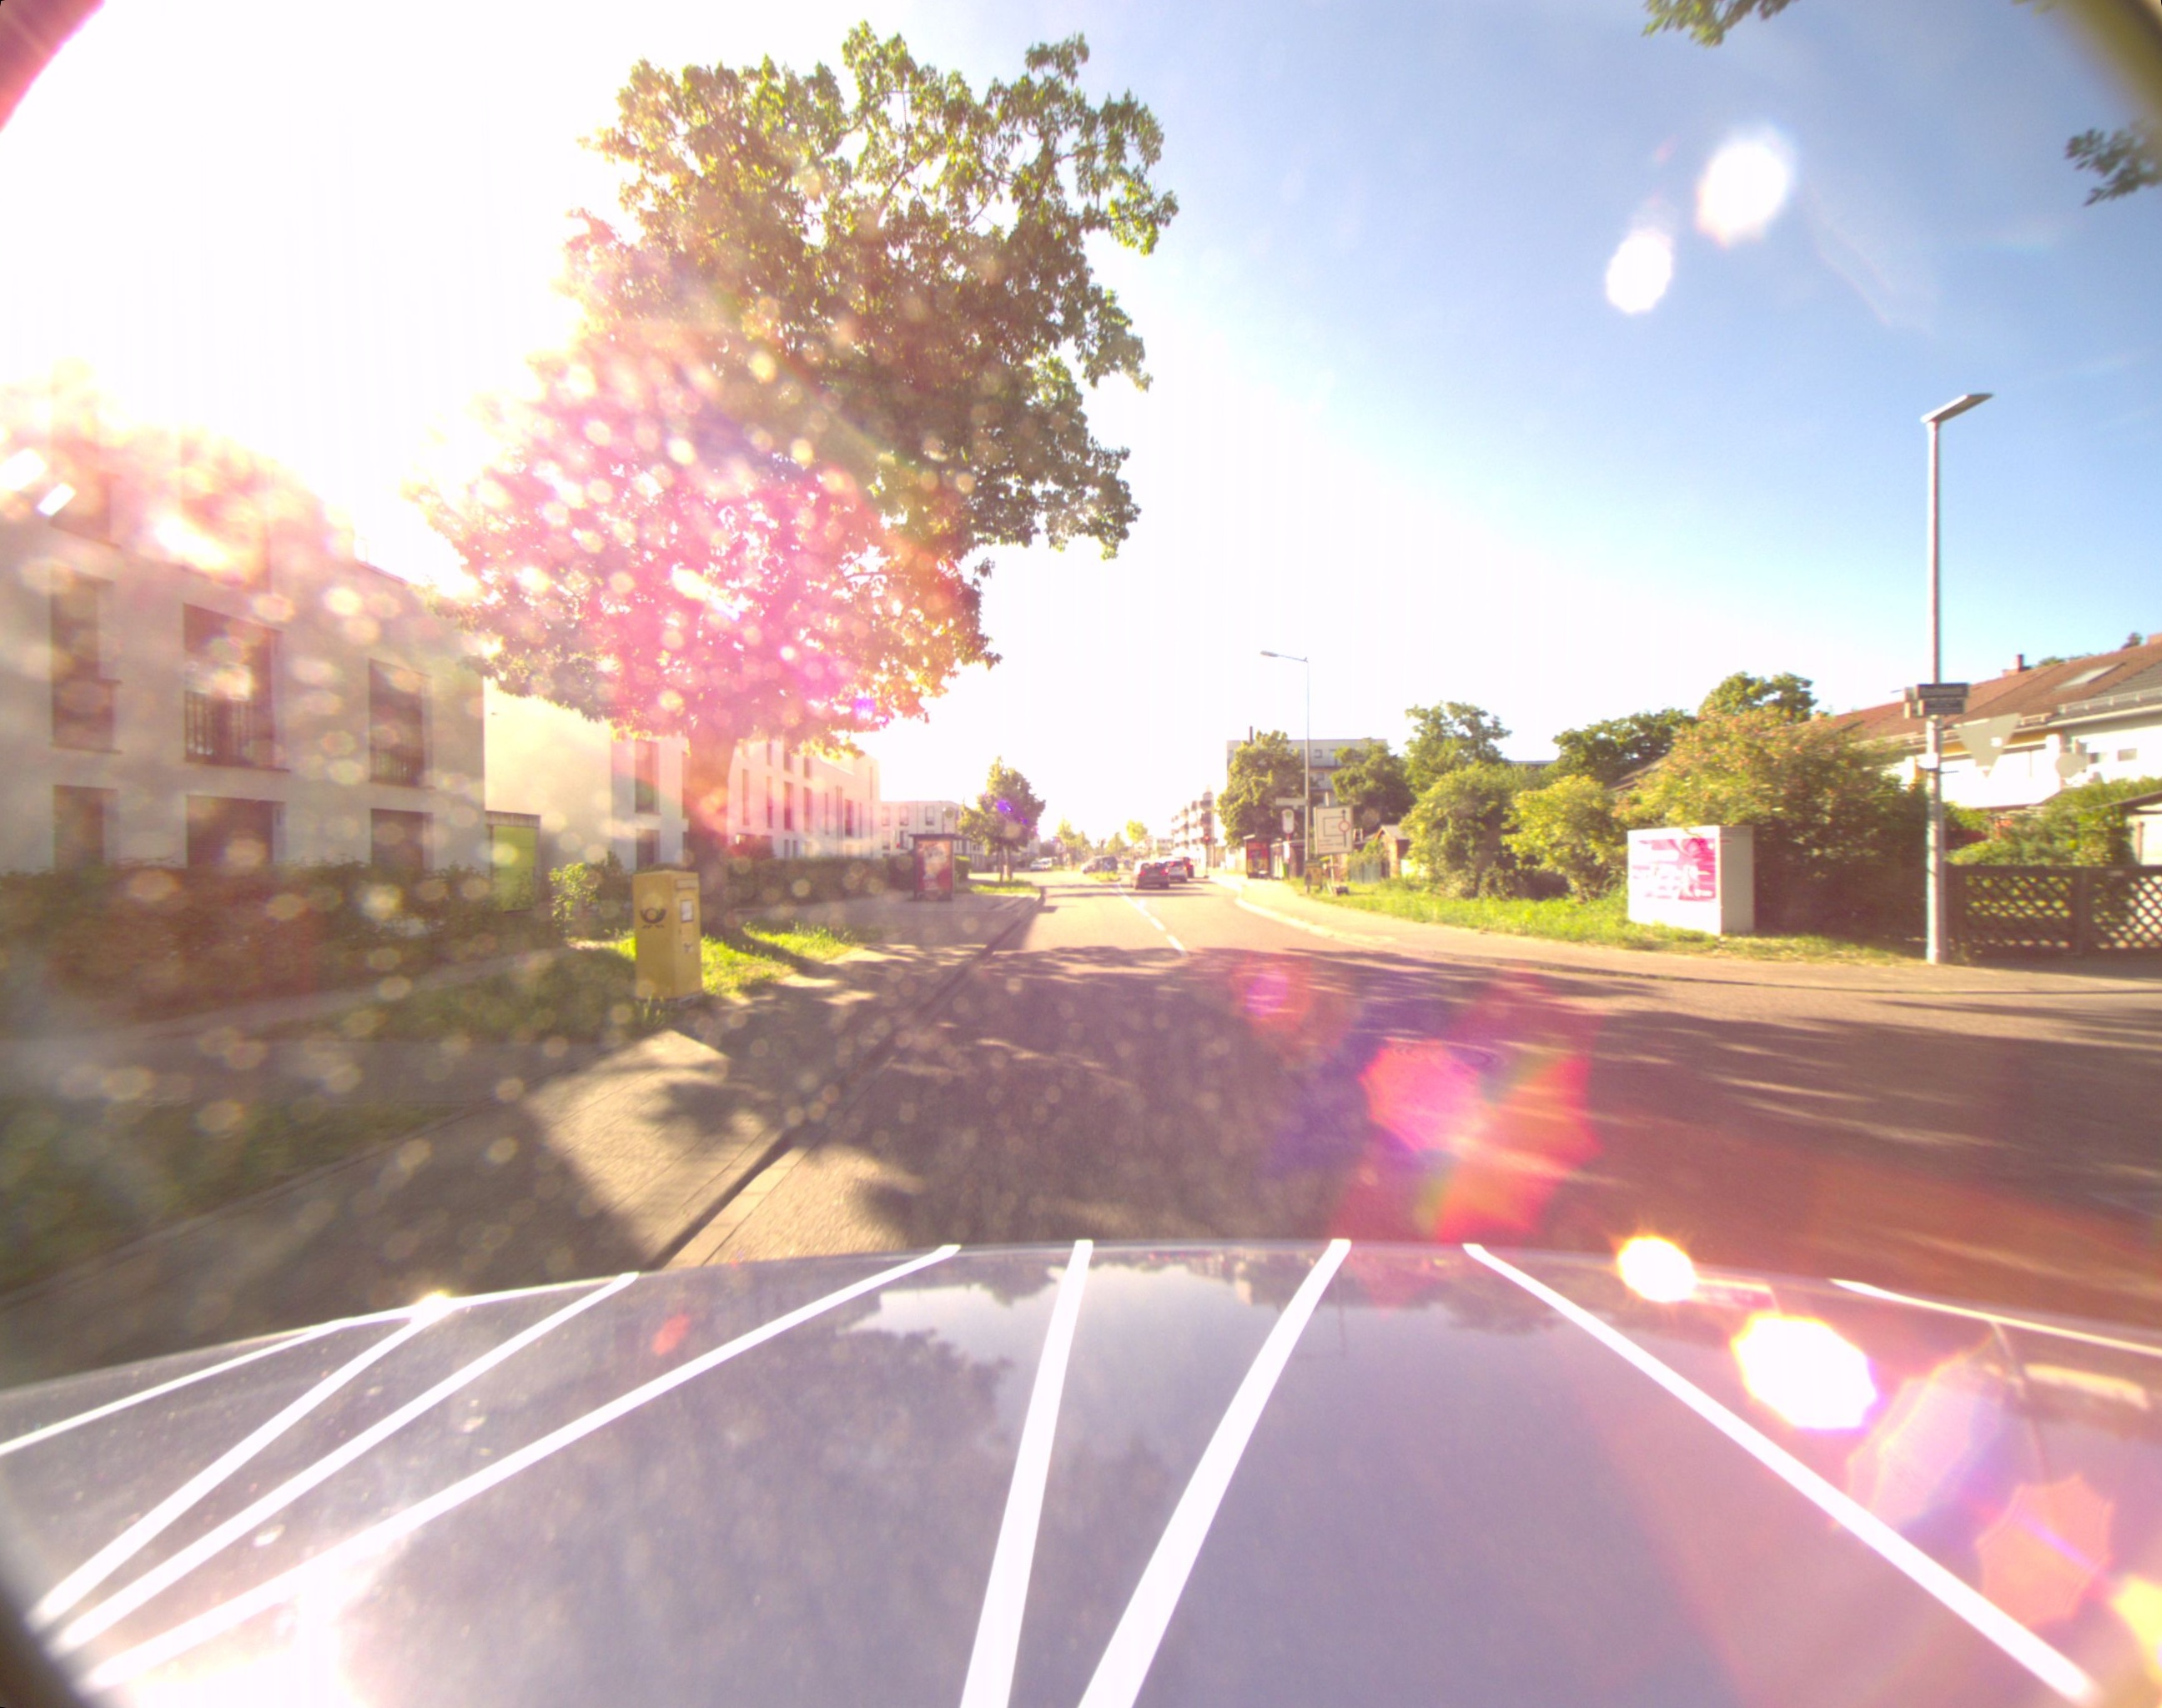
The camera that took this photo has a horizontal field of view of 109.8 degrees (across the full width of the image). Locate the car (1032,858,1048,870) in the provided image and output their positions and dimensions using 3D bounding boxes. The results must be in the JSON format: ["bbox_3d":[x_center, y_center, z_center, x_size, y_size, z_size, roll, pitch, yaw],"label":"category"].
[{"bbox_3d":[-5.905,1.464,110.050,2.008,1.655,4.000,-1,0,-1],"label":"car"}]

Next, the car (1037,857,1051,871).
[{"bbox_3d":[-5.660,1.538,117.670,1.999,2.002,4.000,0,0,-1],"label":"car"}]

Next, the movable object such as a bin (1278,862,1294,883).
[{"bbox_3d":[9.964,0.879,36.905,0.594,0.962,0.558,-5,0,4],"label":"movable object such as a bin"}]

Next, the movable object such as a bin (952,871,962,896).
[{"bbox_3d":[-5.090,1.203,31.148,0.370,1.010,0.599,-1,0,-10],"label":"movable object such as a bin"}]

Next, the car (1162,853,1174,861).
[{"bbox_3d":[16.614,0.575,145.528,1.998,1.544,3.999,0,2,2],"label":"car"}]

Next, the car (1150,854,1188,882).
[{"bbox_3d":[5.362,0.832,46.562,2.214,1.581,4.536,-1,0,6],"label":"car"}]

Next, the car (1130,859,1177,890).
[{"bbox_3d":[3.721,1.039,39.934,1.998,1.435,4.450,-2,0,0],"label":"car"}]

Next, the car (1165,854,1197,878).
[{"bbox_3d":[7.008,0.788,53.396,1.944,1.579,4.182,-1,0,4],"label":"car"}]
